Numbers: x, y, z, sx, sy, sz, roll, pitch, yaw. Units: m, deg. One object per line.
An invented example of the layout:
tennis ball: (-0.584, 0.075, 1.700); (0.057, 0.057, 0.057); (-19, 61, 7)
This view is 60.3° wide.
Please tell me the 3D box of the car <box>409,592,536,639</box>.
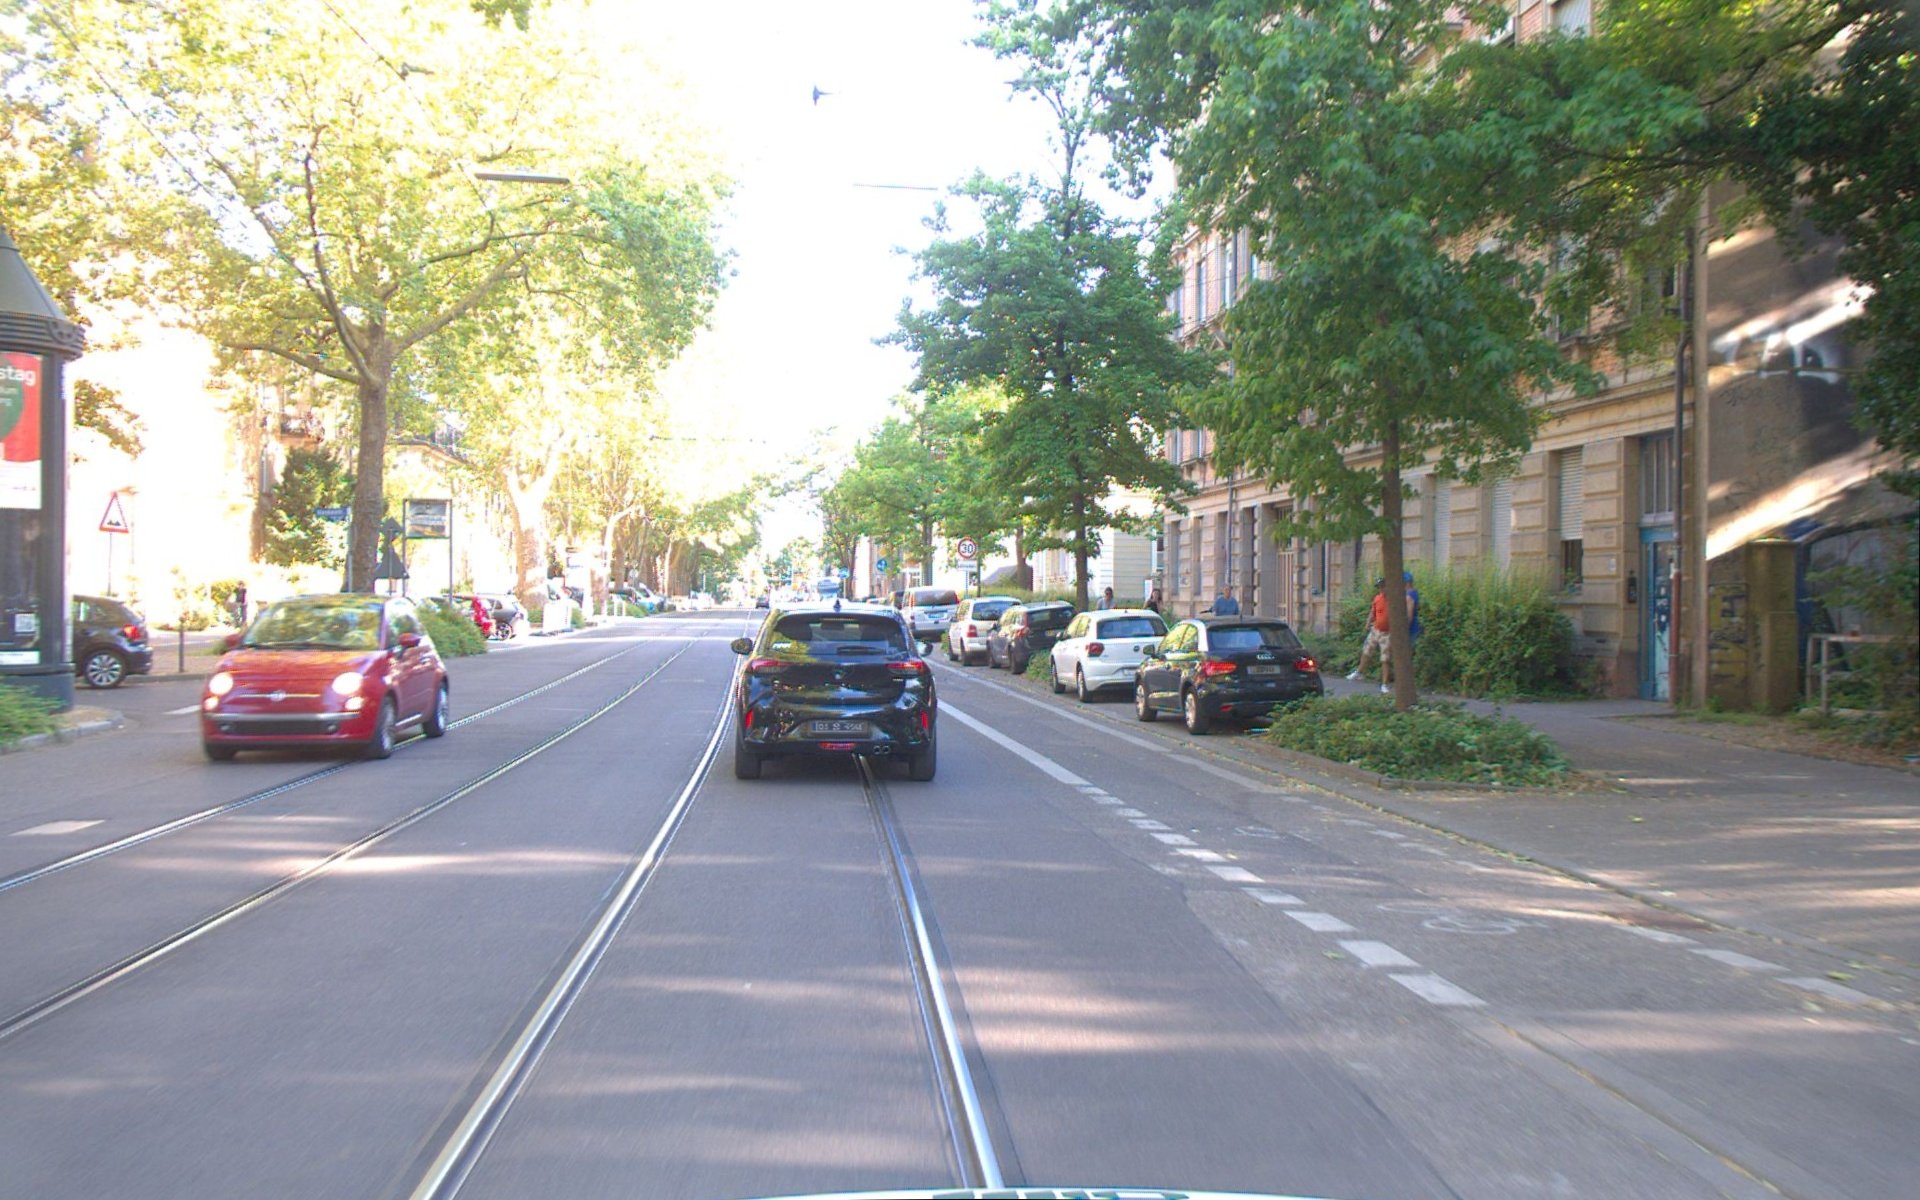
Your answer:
car: (-16.690, 0.540, 56.787); (3.912, 1.490, 1.851); (2, 0, -8)

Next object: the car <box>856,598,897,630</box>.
car: (-4.096, 0.653, 81.052); (1.670, 1.448, 3.972); (-3, 0, -7)

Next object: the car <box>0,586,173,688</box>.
car: (-14.469, 0.543, 25.453); (3.917, 1.474, 1.738); (2, 0, -13)

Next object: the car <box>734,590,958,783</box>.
car: (-1.123, 0.690, 14.983); (1.730, 1.486, 3.944); (2, 0, -7)

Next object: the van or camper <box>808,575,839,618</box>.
van or camper: (-10.811, -0.283, 130.576); (2.211, 3.272, 5.522); (-1, 0, -7)

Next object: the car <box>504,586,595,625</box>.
car: (-20.290, 0.282, 81.879); (4.221, 1.833, 1.921); (1, 0, -10)

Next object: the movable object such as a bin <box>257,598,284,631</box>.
movable object such as a bin: (-24.273, 0.518, 58.227); (0.710, 1.129, 0.542); (1, -1, -6)

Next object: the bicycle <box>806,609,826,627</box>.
bicycle: (-8.409, 1.046, 96.415); (0.950, 1.016, 2.578); (2, 0, -8)

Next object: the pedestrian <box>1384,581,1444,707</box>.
pedestrian: (6.745, 0.645, 24.595); (0.587, 1.824, 0.727); (2, -1, -10)

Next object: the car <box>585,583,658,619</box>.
car: (-24.838, 0.078, 121.486); (4.941, 2.416, 2.078); (-3, 0, -7)

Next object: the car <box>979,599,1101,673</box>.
car: (1.730, 0.768, 37.448); (1.849, 1.492, 4.584); (-2, 0, -9)

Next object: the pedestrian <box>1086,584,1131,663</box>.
pedestrian: (3.330, 0.522, 37.053); (0.713, 1.722, 0.954); (2, -1, -13)

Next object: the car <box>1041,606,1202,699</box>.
car: (2.660, 0.840, 28.185); (1.848, 1.392, 4.100); (-2, 0, -7)

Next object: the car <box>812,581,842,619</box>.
car: (-9.980, -0.013, 124.073); (2.045, 2.820, 4.690); (-1, 0, -7)

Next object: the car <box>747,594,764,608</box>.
car: (-28.428, 0.156, 230.039); (2.211, 1.873, 5.522); (-1, 0, -7)

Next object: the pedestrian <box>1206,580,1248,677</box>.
pedestrian: (5.114, 0.546, 31.684); (0.711, 1.824, 0.601); (1, -1, 4)

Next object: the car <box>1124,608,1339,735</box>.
car: (3.440, 0.860, 21.642); (1.642, 1.437, 3.835); (-2, 0, -9)

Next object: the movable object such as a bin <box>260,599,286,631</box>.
movable object such as a bin: (-24.401, 0.532, 58.745); (0.709, 1.129, 0.560); (1, -1, -6)

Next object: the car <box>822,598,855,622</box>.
car: (-7.870, 0.612, 106.796); (1.848, 1.459, 4.523); (-2, 0, -7)

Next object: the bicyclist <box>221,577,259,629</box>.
bicyclist: (-21.982, 0.095, 50.519); (0.785, 1.533, 1.114); (2, -1, -11)

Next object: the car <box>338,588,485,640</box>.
car: (-17.056, 0.446, 51.576); (4.003, 1.490, 1.818); (2, 0, -5)

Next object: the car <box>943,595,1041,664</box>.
car: (0.755, 0.717, 42.115); (1.848, 1.595, 4.235); (-2, 0, -7)

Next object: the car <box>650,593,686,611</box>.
car: (-34.664, 0.201, 196.337); (3.906, 2.049, 2.000); (2, 0, -1)

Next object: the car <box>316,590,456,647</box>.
car: (-16.098, 0.524, 46.489); (3.353, 1.490, 1.695); (2, 0, -5)

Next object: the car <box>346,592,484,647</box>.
car: (-16.085, 0.572, 48.964); (3.532, 1.490, 1.685); (2, 0, -5)

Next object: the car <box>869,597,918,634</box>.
car: (-2.944, 0.674, 72.551); (1.680, 1.540, 4.029); (-1, 0, -8)

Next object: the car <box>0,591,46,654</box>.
car: (-24.231, 0.537, 40.413); (1.910, 1.513, 3.994); (2, 0, -7)

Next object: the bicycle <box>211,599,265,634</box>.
bicycle: (-21.979, 0.505, 50.394); (0.950, 1.016, 2.576); (2, 0, -11)

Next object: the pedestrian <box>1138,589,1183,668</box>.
pedestrian: (4.493, 0.632, 37.114); (0.714, 1.739, 0.852); (2, -1, -15)

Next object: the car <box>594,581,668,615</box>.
car: (-26.632, -0.151, 134.055); (5.527, 2.638, 2.194); (2, -1, -4)

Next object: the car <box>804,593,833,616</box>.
car: (-11.798, 0.354, 137.692); (2.211, 1.873, 5.522); (-1, 0, -7)

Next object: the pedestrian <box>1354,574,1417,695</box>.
pedestrian: (6.505, 0.525, 25.290); (0.713, 1.824, 0.598); (2, -1, -14)

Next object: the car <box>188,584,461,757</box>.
car: (-6.068, 0.616, 16.186); (1.629, 1.469, 3.468); (-1, 0, -6)

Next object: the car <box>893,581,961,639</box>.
car: (-1.201, 0.350, 57.763); (1.848, 1.883, 4.959); (-2, 0, -7)

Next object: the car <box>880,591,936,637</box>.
car: (-2.140, 0.546, 66.649); (1.850, 1.797, 4.670); (0, 0, -7)

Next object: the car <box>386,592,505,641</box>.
car: (-16.734, 0.541, 53.913); (3.353, 1.490, 1.757); (2, 0, -5)

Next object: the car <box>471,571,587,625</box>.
car: (-19.774, -0.072, 76.079); (4.942, 2.299, 2.080); (2, 0, -11)

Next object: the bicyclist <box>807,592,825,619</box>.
bicyclist: (-8.393, 0.301, 96.392); (0.940, 1.525, 1.092); (2, -1, -9)
